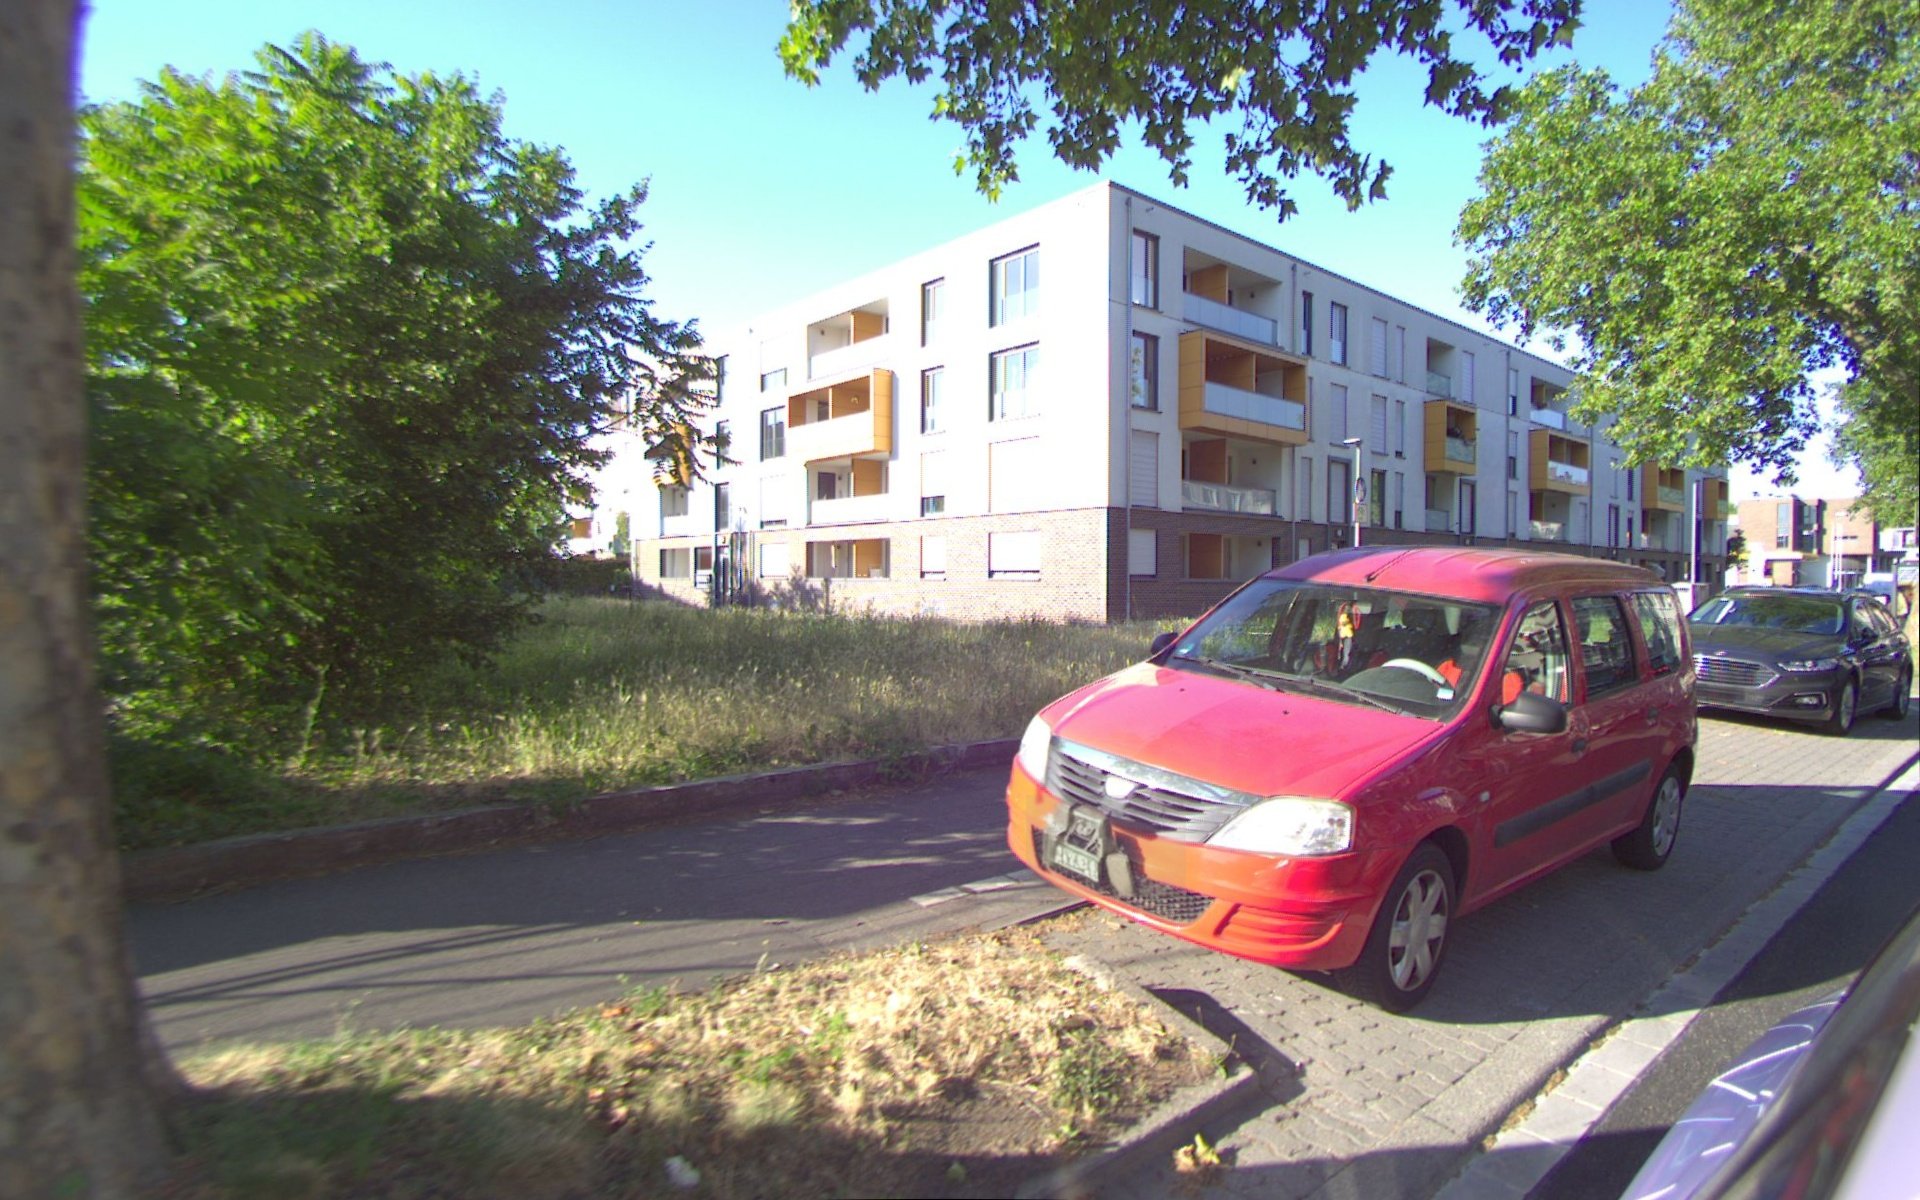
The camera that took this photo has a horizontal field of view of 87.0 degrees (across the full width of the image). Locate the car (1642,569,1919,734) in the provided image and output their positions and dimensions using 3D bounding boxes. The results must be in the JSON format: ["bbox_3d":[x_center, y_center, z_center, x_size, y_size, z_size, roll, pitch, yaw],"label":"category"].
[{"bbox_3d":[9.740,0.447,11.710,4.612,1.499,1.705,-1,4,-39],"label":"car"}]

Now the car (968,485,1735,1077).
[{"bbox_3d":[2.177,0.476,4.904,4.259,1.710,1.601,-1,2,-40],"label":"car"}]
